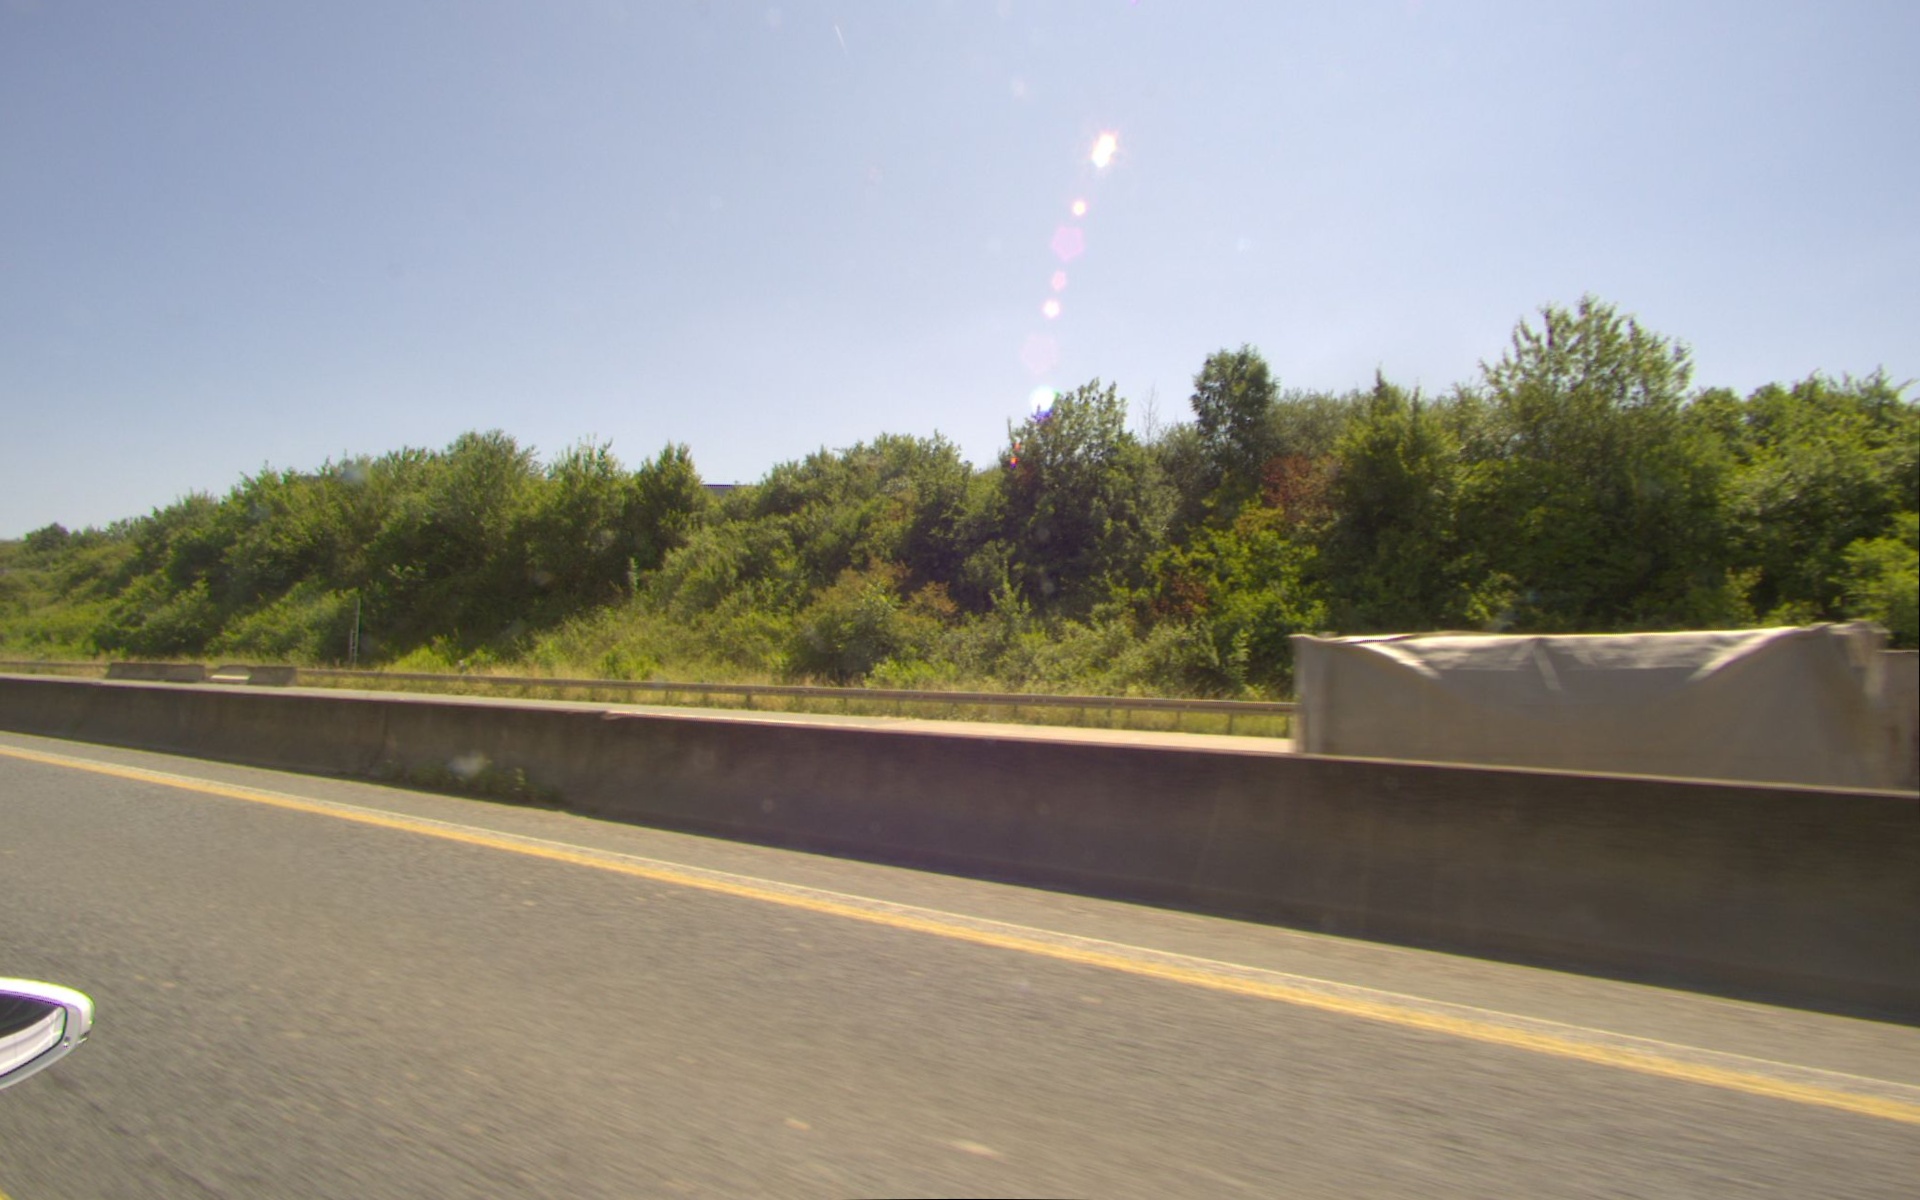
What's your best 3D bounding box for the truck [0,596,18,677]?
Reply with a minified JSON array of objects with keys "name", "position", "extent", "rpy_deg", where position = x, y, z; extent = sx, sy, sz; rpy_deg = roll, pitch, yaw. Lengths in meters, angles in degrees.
[{"name":"truck","position":[-45.959,1.652,45.412],"extent":[8.259,3.556,2.683],"rpy_deg":[-1,-2,32]}]
